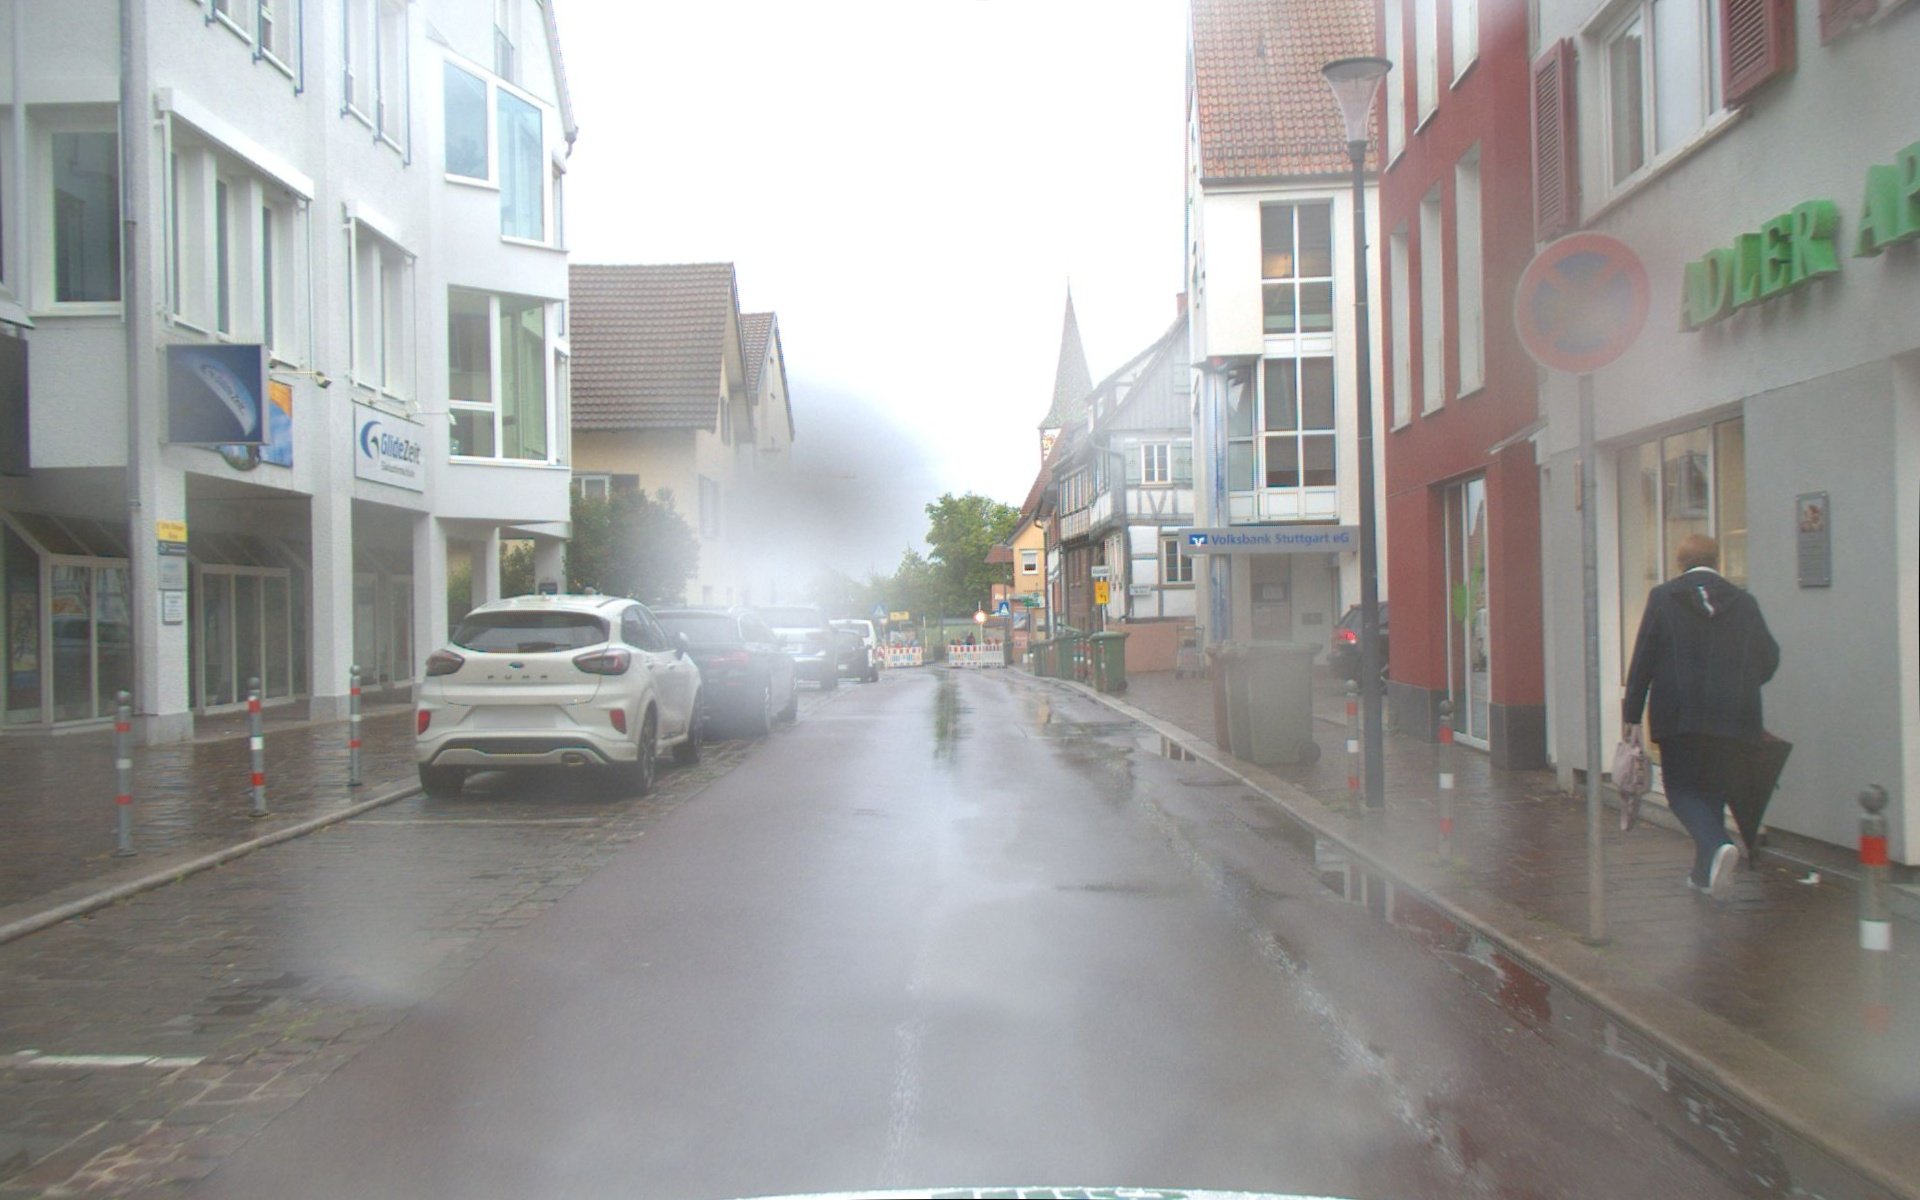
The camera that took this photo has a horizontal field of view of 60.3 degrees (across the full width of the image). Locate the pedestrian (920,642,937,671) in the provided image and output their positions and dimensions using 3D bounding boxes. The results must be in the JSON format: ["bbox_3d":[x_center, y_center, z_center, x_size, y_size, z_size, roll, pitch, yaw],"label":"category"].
[{"bbox_3d":[-2.006,3.592,104.505,0.971,1.790,0.850,-1,-3,-7],"label":"pedestrian"}]

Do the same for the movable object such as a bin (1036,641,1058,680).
[{"bbox_3d":[2.646,1.834,50.357,0.624,1.167,0.604,-1,-3,4],"label":"movable object such as a bin"}]

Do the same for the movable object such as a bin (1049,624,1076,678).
[{"bbox_3d":[2.499,1.246,40.277,0.624,1.313,0.632,-1,-3,4],"label":"movable object such as a bin"}]

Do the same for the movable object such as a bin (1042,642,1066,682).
[{"bbox_3d":[2.823,1.865,49.676,0.625,1.167,0.631,-1,-3,-3],"label":"movable object such as a bin"}]

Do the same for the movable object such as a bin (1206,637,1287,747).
[{"bbox_3d":[2.957,0.945,17.095,0.714,1.100,0.646,-1,-2,1],"label":"movable object such as a bin"}]

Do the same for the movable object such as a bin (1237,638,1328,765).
[{"bbox_3d":[2.901,0.905,14.932,0.662,1.105,0.718,-1,-2,1],"label":"movable object such as a bin"}]

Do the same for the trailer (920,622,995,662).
[{"bbox_3d":[-0.181,3.322,129.380,5.669,2.999,1.997,-1,-3,-6],"label":"trailer"}]

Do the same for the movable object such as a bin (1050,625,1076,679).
[{"bbox_3d":[2.554,1.282,40.982,0.624,1.313,0.632,-1,-3,4],"label":"movable object such as a bin"}]

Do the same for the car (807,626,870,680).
[{"bbox_3d":[-3.340,1.492,45.882,1.647,1.413,3.822,-1,-3,-4],"label":"car"}]

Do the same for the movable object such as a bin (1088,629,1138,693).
[{"bbox_3d":[2.826,1.126,30.642,0.788,1.151,0.862,-1,-3,-2],"label":"movable object such as a bin"}]

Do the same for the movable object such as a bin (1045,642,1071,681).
[{"bbox_3d":[2.824,1.766,47.664,0.664,1.116,0.650,0,-2,-4],"label":"movable object such as a bin"}]

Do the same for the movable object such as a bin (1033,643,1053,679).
[{"bbox_3d":[2.682,1.968,53.252,0.597,1.147,0.599,-1,-3,-1],"label":"movable object such as a bin"}]

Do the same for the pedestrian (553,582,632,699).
[{"bbox_3d":[-5.923,0.648,26.702,1.014,1.838,1.116,0,-1,0],"label":"pedestrian"}]

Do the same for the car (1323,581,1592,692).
[{"bbox_3d":[7.931,0.614,26.743,3.902,1.541,1.913,-3,-3,10],"label":"car"}]

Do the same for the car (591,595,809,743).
[{"bbox_3d":[-3.023,0.782,20.229,1.793,1.525,4.763,-2,-1,1],"label":"car"}]

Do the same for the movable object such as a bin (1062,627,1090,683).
[{"bbox_3d":[2.781,1.318,39.546,0.624,1.313,0.632,-1,-3,4],"label":"movable object such as a bin"}]

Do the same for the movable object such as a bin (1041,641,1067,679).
[{"bbox_3d":[2.781,1.790,49.038,0.656,1.100,0.587,-2,-3,-2],"label":"movable object such as a bin"}]

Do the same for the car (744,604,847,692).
[{"bbox_3d":[-3.196,0.992,32.815,1.744,1.596,4.405,-1,-3,-2],"label":"car"}]

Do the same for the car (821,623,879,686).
[{"bbox_3d":[-3.389,1.736,51.658,1.689,1.857,4.425,-1,-3,-3],"label":"car"}]

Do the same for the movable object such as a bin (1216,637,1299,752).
[{"bbox_3d":[2.950,0.929,16.434,0.695,1.114,0.614,-1,-2,1],"label":"movable object such as a bin"}]

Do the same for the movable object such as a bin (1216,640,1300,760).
[{"bbox_3d":[2.817,0.937,15.694,0.662,1.103,0.698,-1,-2,1],"label":"movable object such as a bin"}]

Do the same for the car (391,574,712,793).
[{"bbox_3d":[-3.266,0.694,14.029,1.755,1.578,3.998,0,-3,-1],"label":"car"}]

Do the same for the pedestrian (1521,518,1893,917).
[{"bbox_3d":[3.550,0.531,8.004,1.154,1.727,1.177,-3,-1,-3],"label":"pedestrian"}]

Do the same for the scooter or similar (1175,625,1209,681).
[{"bbox_3d":[5.021,1.161,35.858,0.651,1.166,1.447,-1,-3,6],"label":"scooter or similar"}]
